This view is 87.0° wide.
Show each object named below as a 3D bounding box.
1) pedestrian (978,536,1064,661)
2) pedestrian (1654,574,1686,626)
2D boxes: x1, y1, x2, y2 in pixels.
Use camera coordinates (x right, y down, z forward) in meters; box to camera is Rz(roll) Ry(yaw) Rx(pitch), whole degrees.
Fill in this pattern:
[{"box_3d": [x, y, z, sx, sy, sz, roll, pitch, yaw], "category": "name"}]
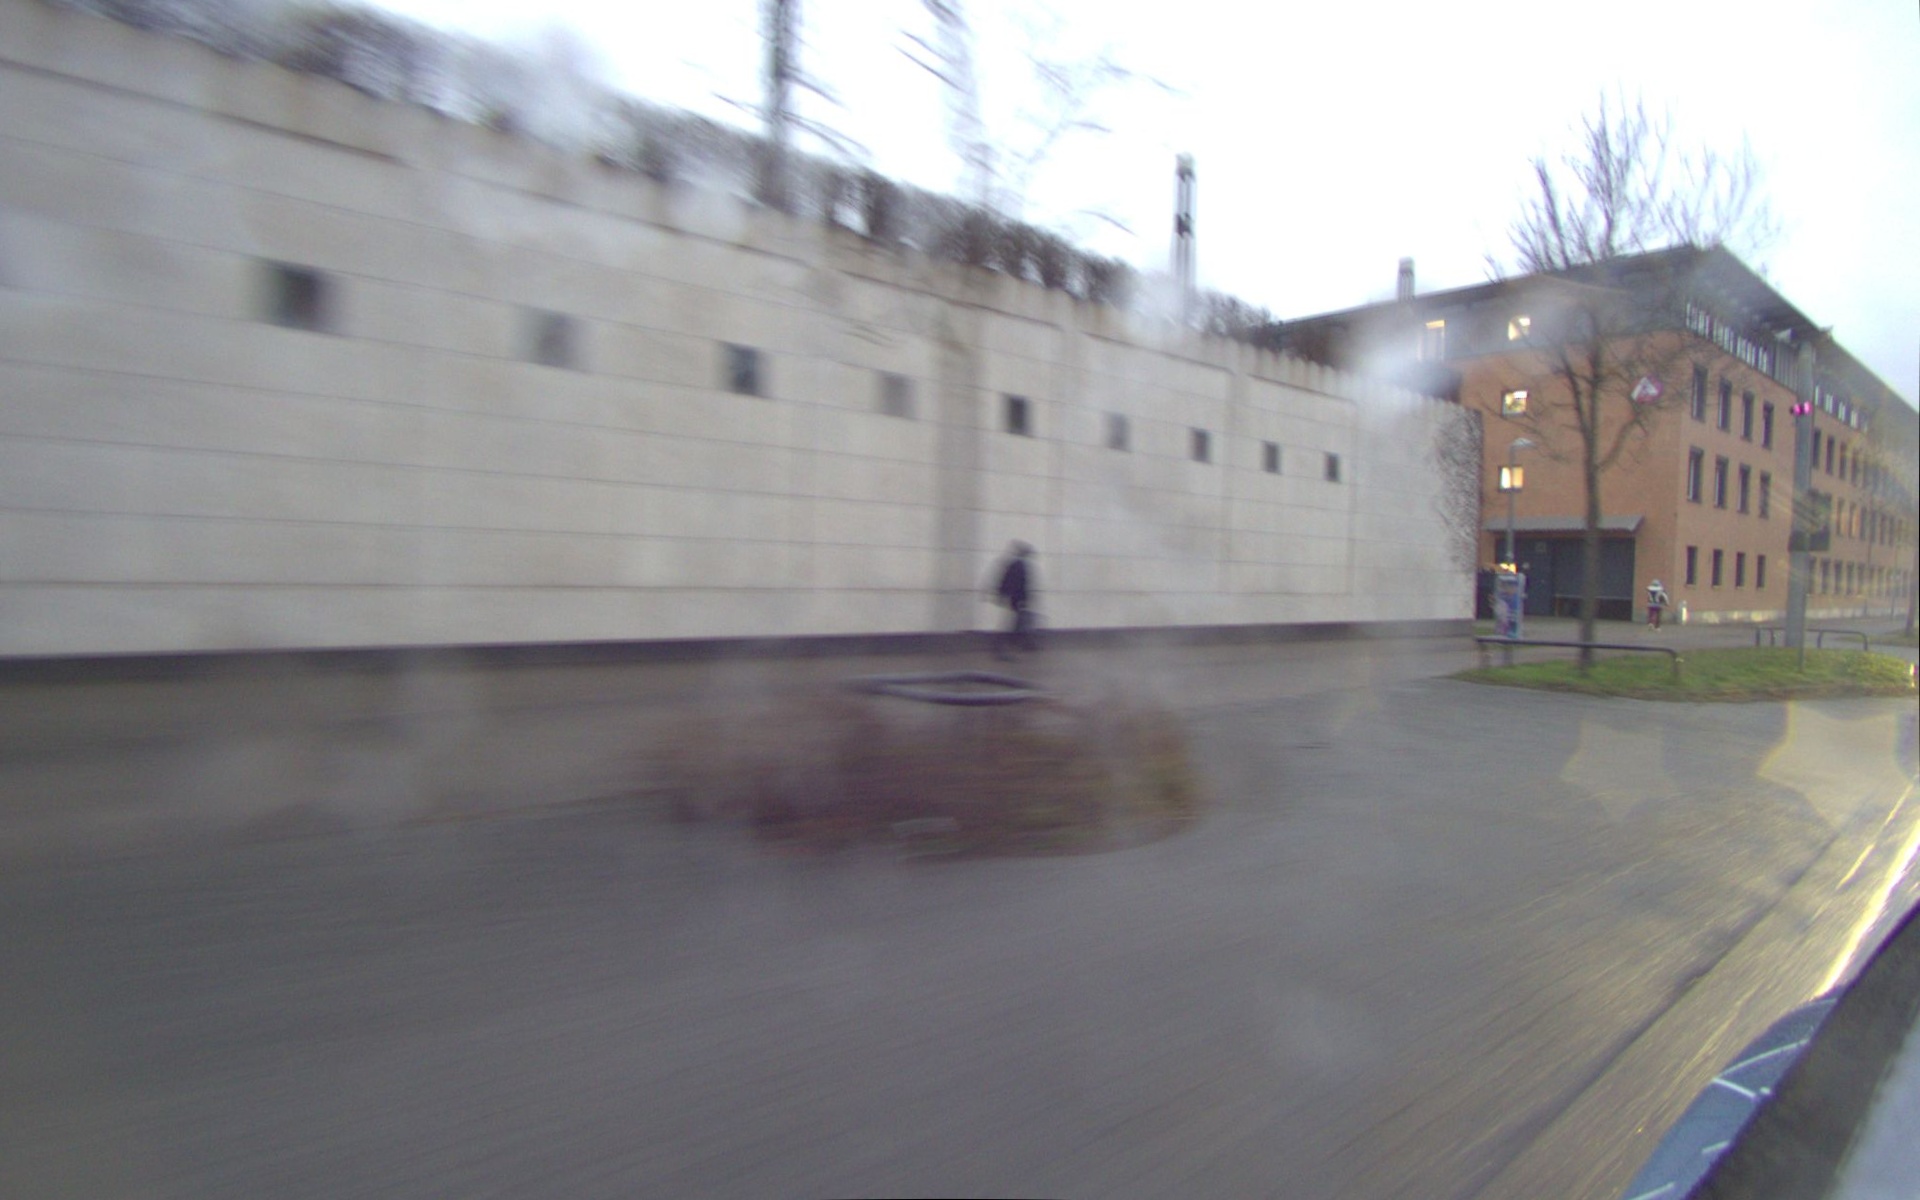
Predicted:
[{"box_3d": [0.829, -0.039, 13.898, 0.683, 1.638, 0.939, 0, 2, -42], "category": "pedestrian"}, {"box_3d": [22.672, -0.012, 32.310, 1.049, 1.630, 0.622, 0, 2, -44], "category": "pedestrian"}]
